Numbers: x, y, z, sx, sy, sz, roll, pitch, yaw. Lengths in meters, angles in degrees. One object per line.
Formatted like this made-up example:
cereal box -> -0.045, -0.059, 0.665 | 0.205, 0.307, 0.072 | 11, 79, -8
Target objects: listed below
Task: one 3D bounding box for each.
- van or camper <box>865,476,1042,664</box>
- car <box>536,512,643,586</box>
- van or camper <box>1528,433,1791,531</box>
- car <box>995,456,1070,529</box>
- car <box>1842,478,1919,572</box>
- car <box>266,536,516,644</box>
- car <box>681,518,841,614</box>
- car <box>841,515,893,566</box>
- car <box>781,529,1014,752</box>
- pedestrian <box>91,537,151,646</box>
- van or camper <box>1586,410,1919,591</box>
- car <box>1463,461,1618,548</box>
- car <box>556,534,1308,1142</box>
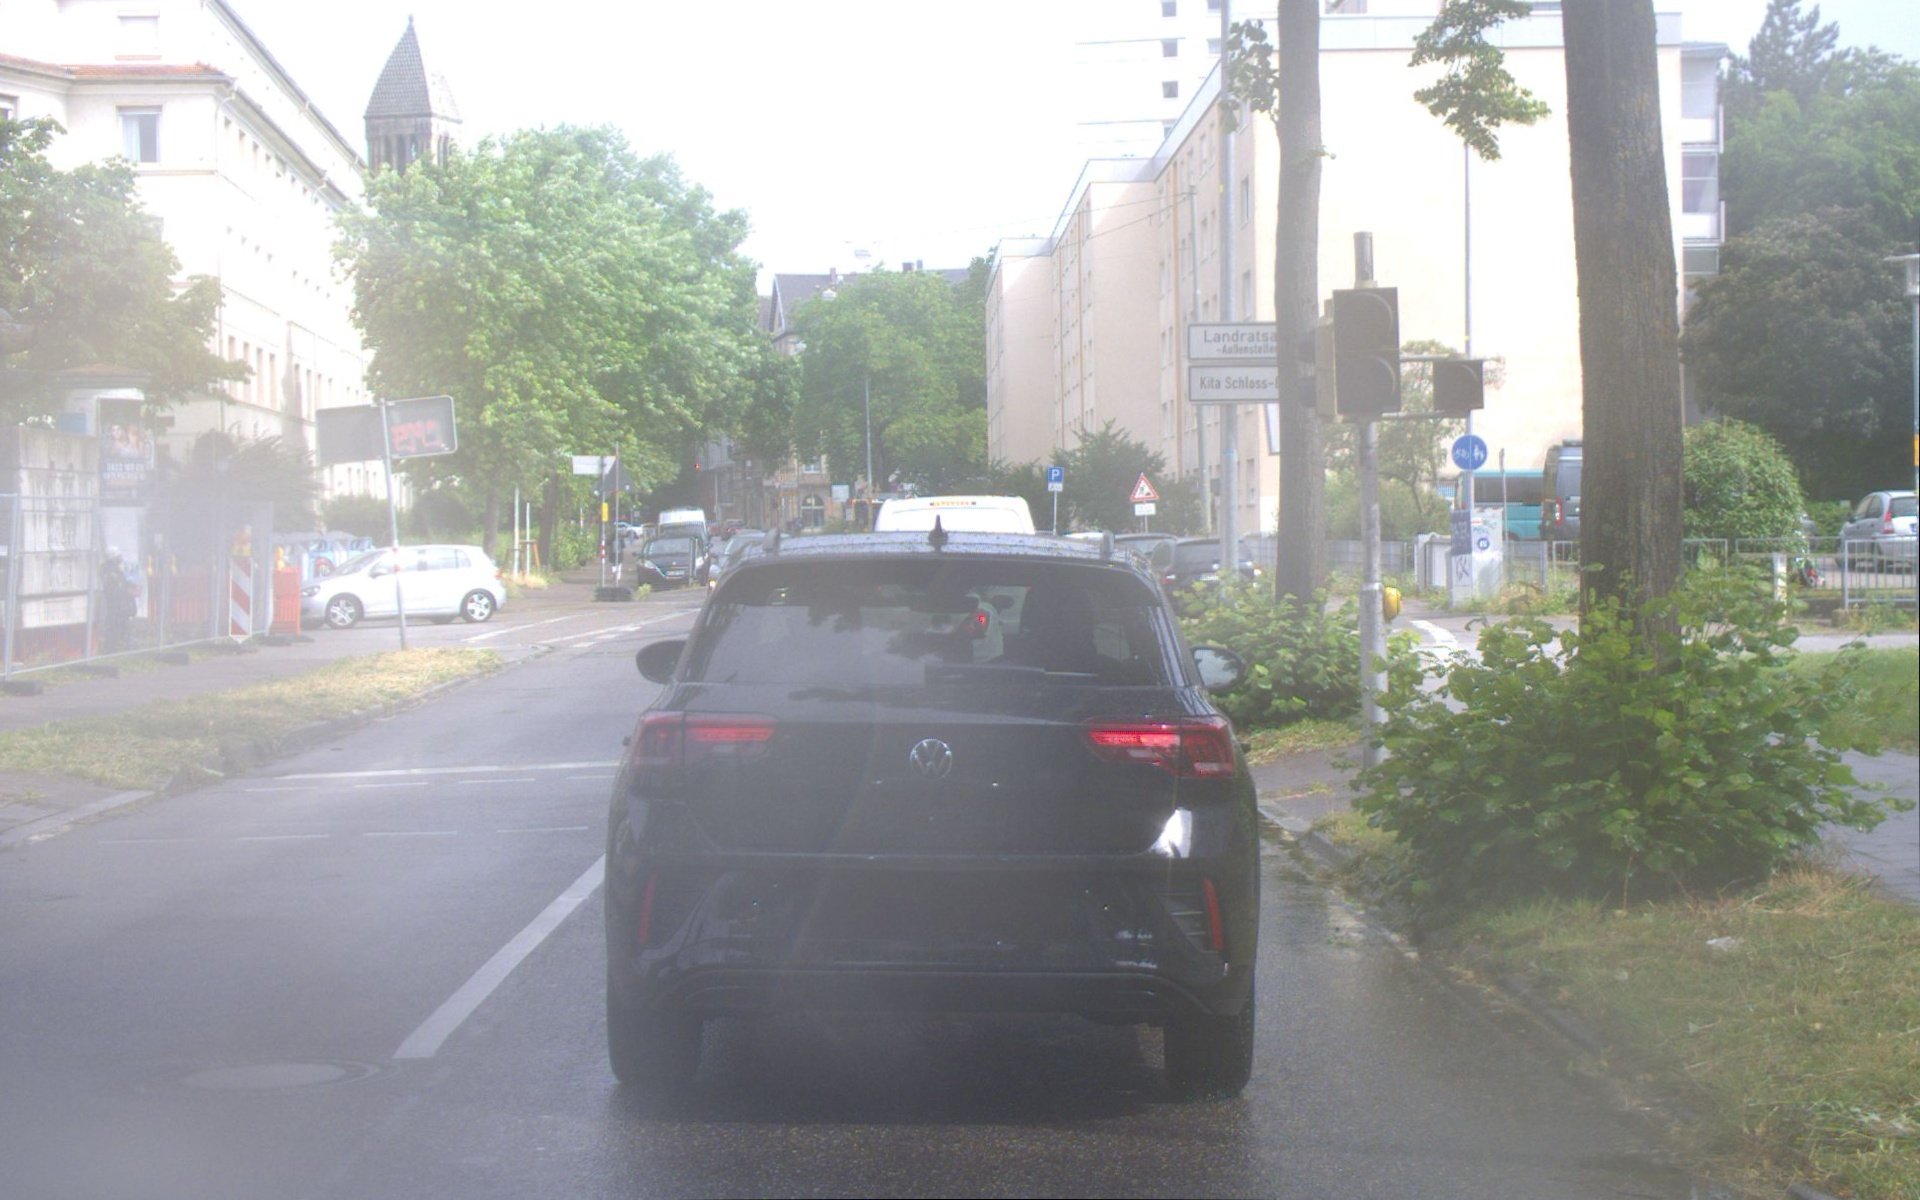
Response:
van or camper -> -0.037, -0.361, 37.473 | 1.819, 1.941, 4.195 | 0, 1, 1
car -> -8.358, -1.169, 77.796 | 1.591, 1.507, 3.731 | -4, 1, 5
van or camper -> 14.083, -2.390, 69.424 | 4.874, 1.919, 2.131 | 0, 2, 0
car -> 2.035, -3.030, 97.472 | 1.993, 2.007, 4.000 | 0, 1, -1
car -> 17.992, -1.452, 65.317 | 1.743, 1.678, 3.870 | -4, 1, 6
car -> -10.113, -0.176, 61.202 | 3.923, 1.645, 1.760 | -4, 1, -31
car -> -3.947, -0.713, 69.097 | 1.790, 1.678, 4.483 | -3, 1, 15
car -> -3.028, -1.949, 111.856 | 1.591, 1.507, 3.732 | -4, 1, -2
car -> -0.474, 0.304, 29.691 | 1.680, 1.702, 3.909 | -3, 1, 3
pedestrian -> -11.595, -0.124, 47.509 | 0.660, 1.480, 0.673 | -1, 2, -25
van or camper -> 12.290, -1.508, 52.318 | 5.032, 2.587, 2.168 | -1, 1, -1
car -> 13.404, -2.214, 79.534 | 3.408, 1.775, 1.759 | -4, 1, 9
car -> -0.071, 0.563, 10.692 | 1.895, 1.517, 4.000 | 0, 1, 0
